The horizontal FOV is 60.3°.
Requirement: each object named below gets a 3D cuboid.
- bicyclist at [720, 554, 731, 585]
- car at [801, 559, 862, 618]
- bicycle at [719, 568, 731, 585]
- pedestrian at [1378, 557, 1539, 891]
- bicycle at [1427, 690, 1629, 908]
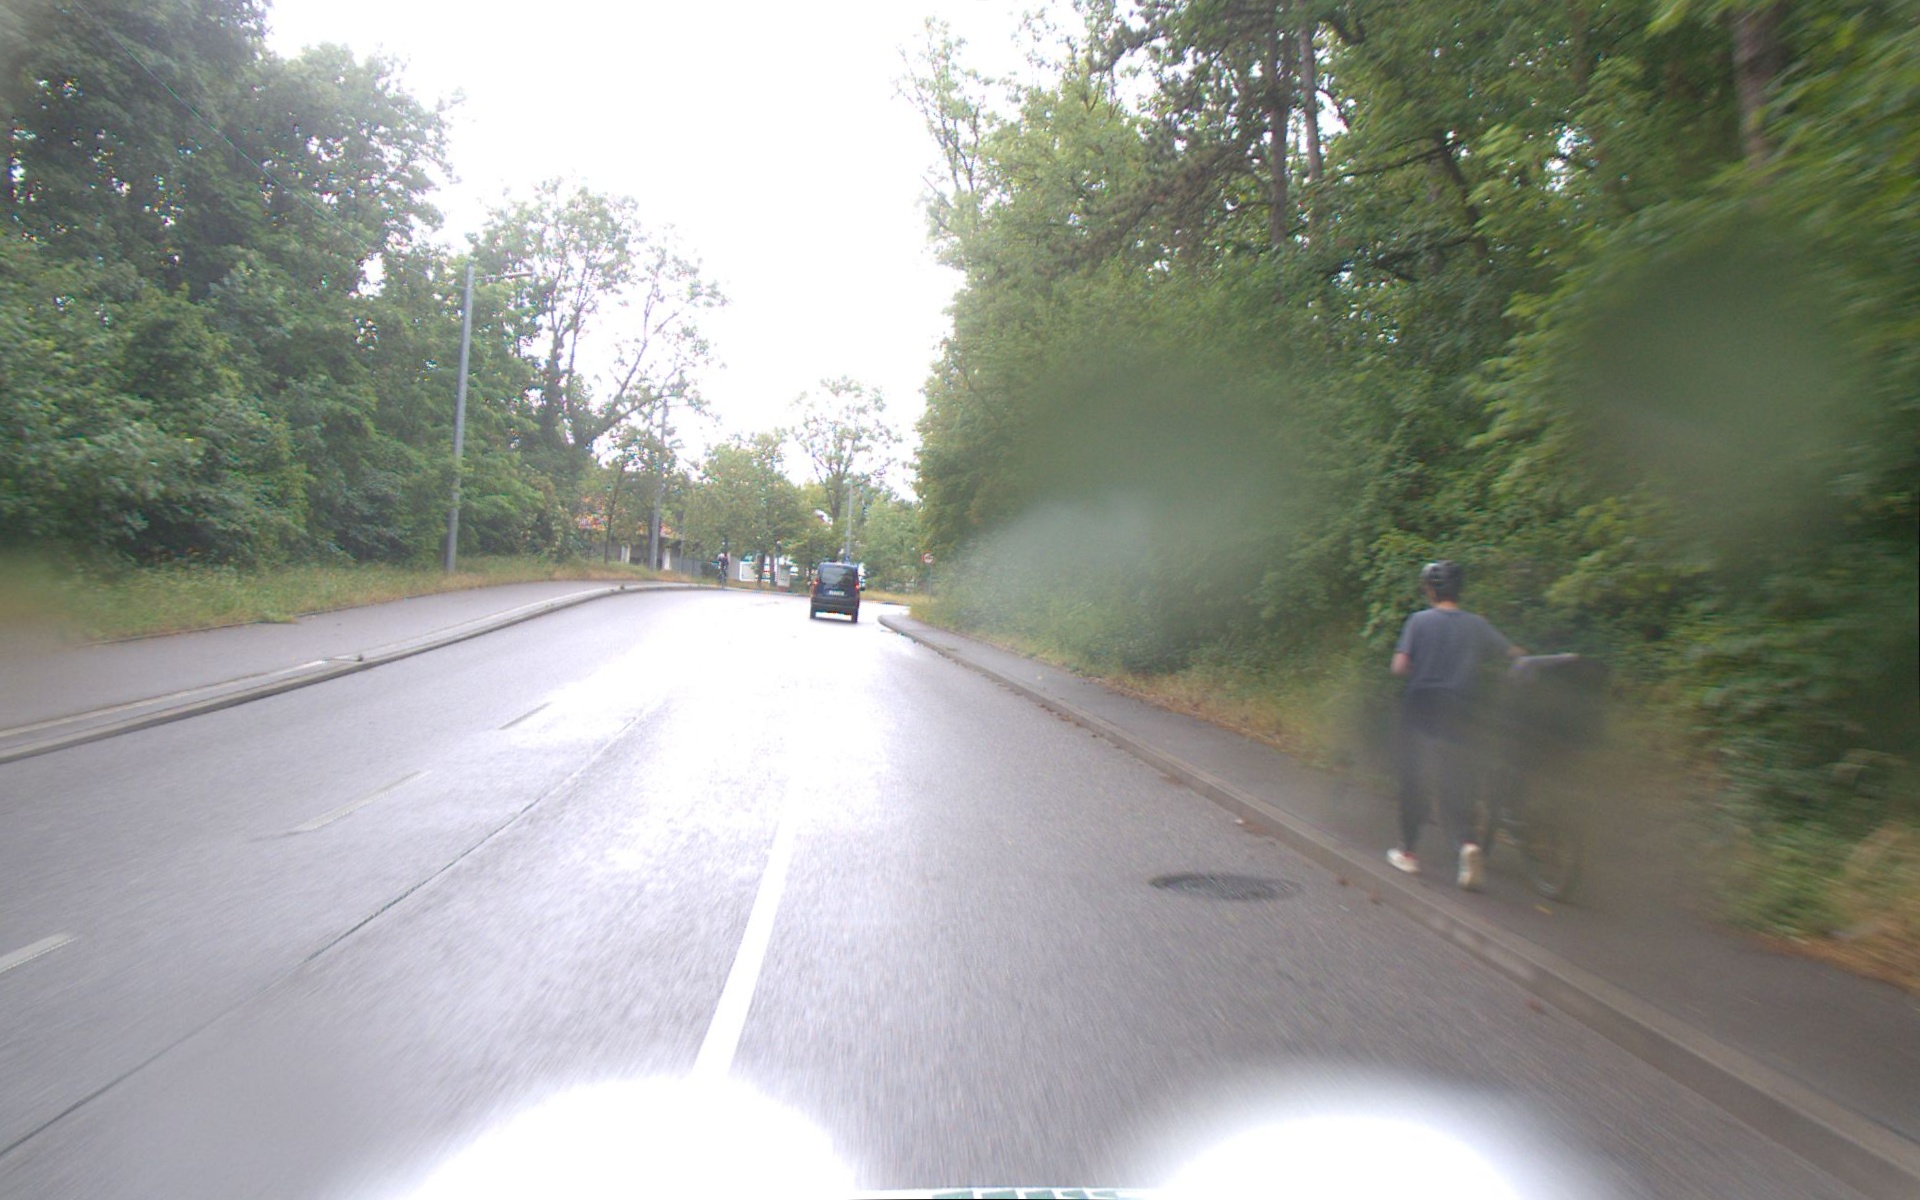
[{"bbox_3d":[-12.129,-1.571,85.599,0.329,1.601,1.298,3,1,-2],"label":"bicyclist"},{"bbox_3d":[-4.329,-0.351,55.283,1.792,1.825,3.993,1,-2,-8],"label":"car"},{"bbox_3d":[-12.150,-1.212,85.618,0.348,0.863,2.092,3,1,-3],"label":"bicycle"},{"bbox_3d":[2.513,0.615,8.394,0.553,1.605,0.769,1,-3,-3],"label":"pedestrian"},{"bbox_3d":[2.848,0.959,8.442,0.348,0.864,1.742,-1,1,-3],"label":"bicycle"}]
